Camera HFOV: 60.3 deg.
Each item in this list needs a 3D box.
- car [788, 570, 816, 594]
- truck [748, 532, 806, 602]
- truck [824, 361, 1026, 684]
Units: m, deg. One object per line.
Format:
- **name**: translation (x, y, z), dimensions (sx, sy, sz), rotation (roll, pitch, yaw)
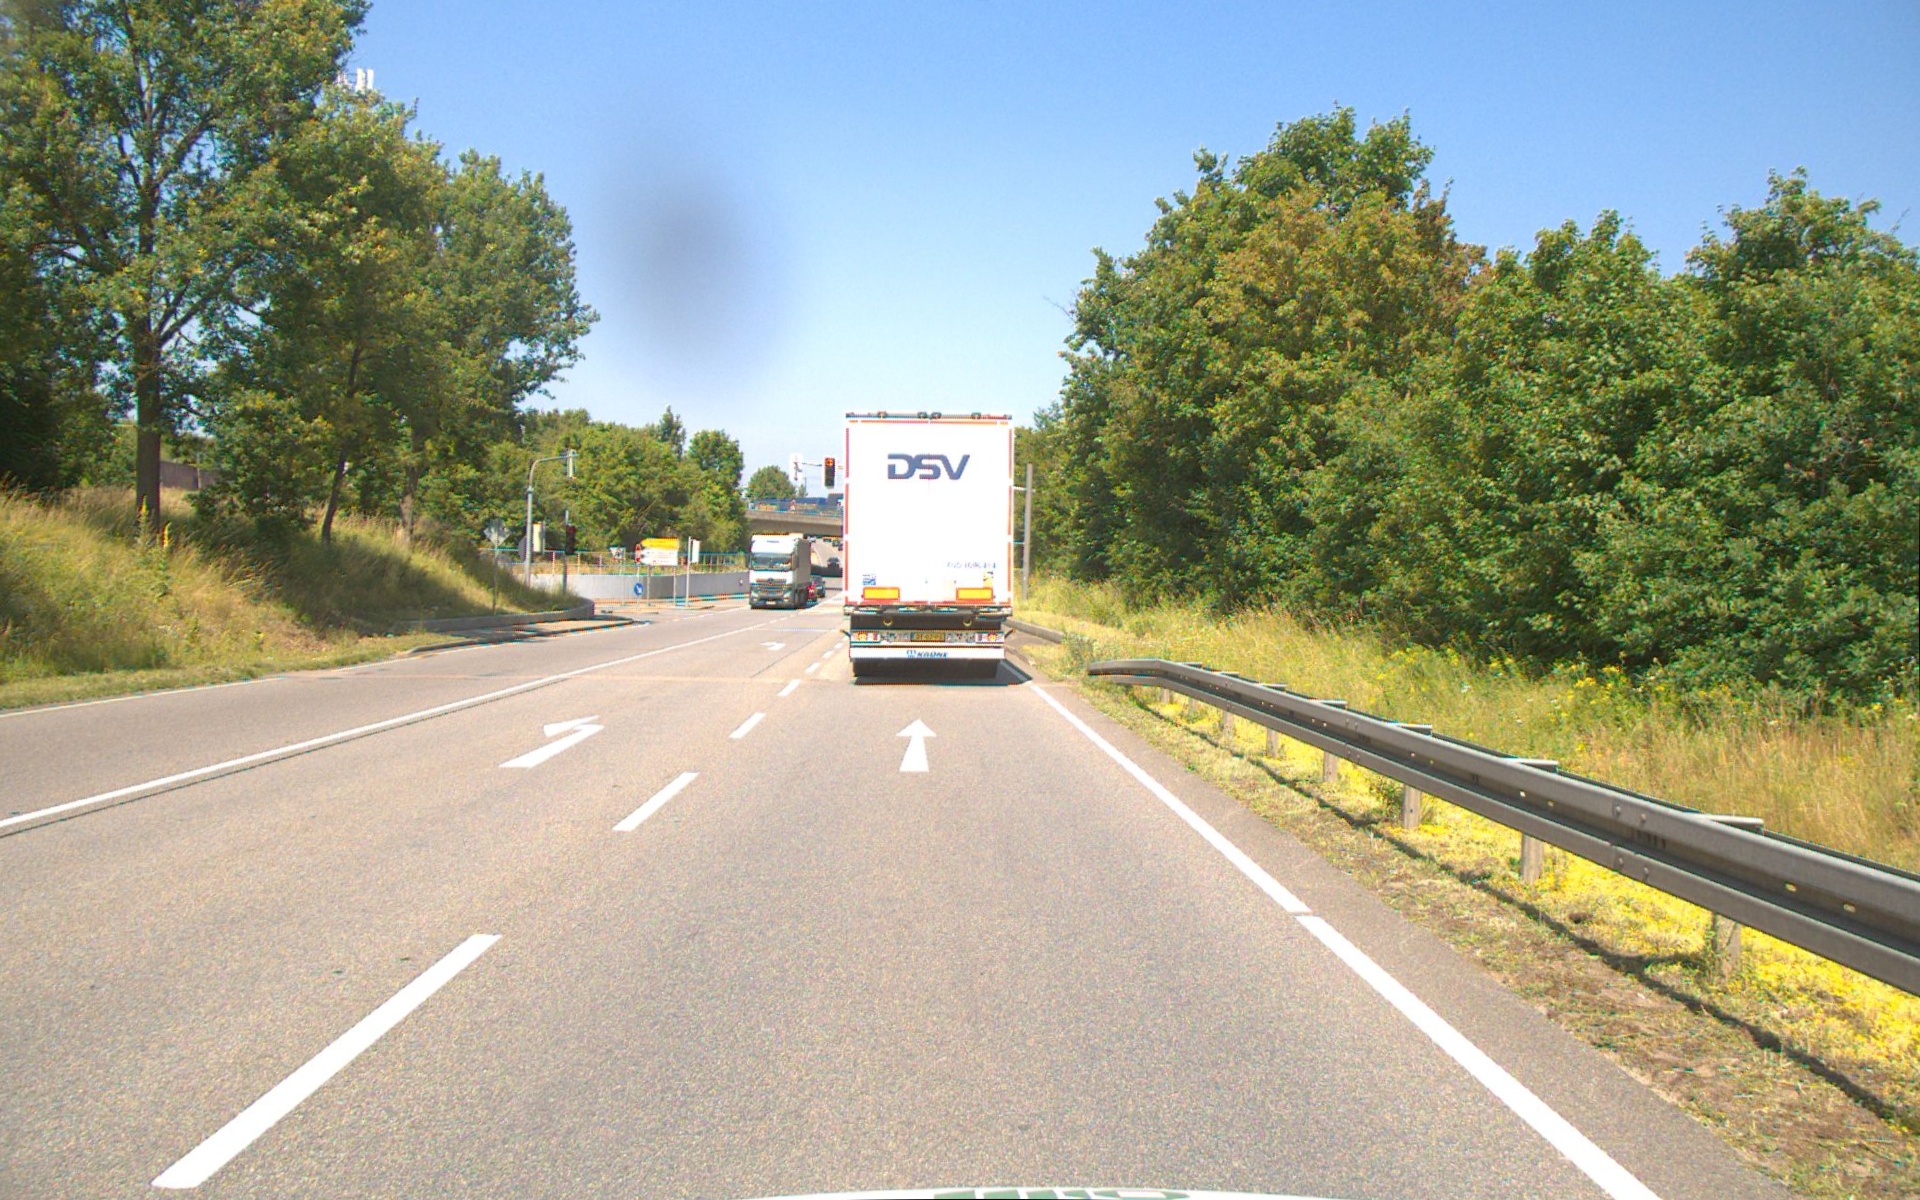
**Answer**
- **car**: translation (-10.855, -1.261, 113.795), dimensions (1.712, 1.654, 3.702), rotation (1, 1, -2)
- **truck**: translation (-10.569, -1.908, 96.401), dimensions (2.306, 3.815, 12.622), rotation (1, 1, -2)
- **truck**: translation (-0.675, -1.166, 28.930), dimensions (2.890, 4.648, 9.859), rotation (1, 0, -2)
